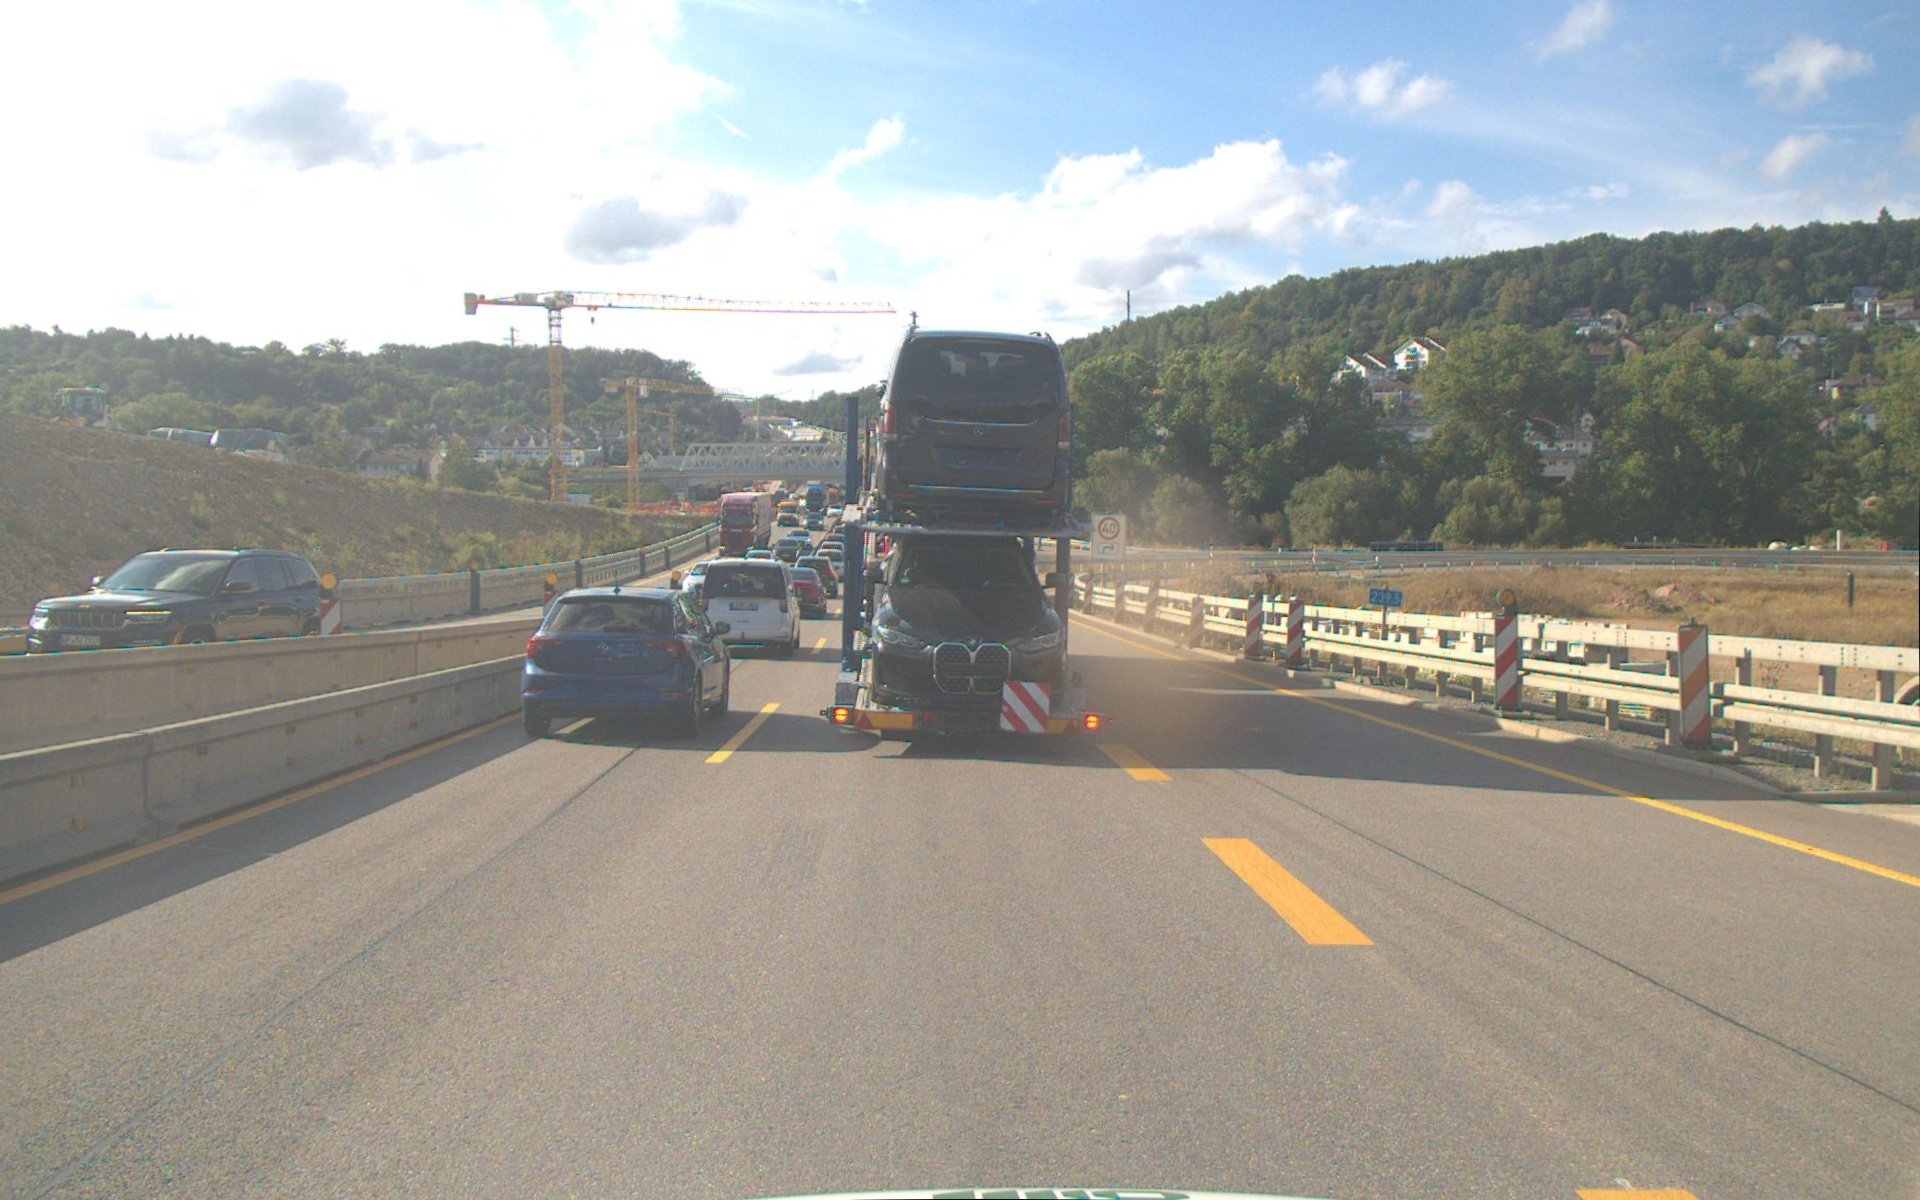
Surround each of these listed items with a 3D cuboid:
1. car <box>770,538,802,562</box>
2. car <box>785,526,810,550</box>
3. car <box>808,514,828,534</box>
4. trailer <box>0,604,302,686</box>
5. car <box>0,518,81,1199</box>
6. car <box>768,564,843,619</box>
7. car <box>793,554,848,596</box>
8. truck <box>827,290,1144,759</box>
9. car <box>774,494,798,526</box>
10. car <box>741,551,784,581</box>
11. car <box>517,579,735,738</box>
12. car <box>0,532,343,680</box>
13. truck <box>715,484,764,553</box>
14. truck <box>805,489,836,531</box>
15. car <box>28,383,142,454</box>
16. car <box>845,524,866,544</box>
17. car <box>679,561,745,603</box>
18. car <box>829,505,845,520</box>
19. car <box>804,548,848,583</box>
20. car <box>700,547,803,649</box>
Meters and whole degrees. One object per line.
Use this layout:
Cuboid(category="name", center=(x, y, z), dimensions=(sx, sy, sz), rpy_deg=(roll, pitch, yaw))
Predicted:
Cuboid(category="car", center=(-11.245, -3.226, 107.054), dimensions=(1.785, 1.465, 4.611), rpy_deg=(1, 1, -3))
Cuboid(category="car", center=(-12.344, -4.718, 125.955), dimensions=(1.808, 1.677, 4.501), rpy_deg=(1, 1, -5))
Cuboid(category="car", center=(-13.723, -7.318, 159.613), dimensions=(1.808, 1.677, 4.232), rpy_deg=(1, 1, -5))
Cuboid(category="trailer", center=(-12.850, 0.573, 22.898), dimensions=(2.301, 0.956, 10.336), rpy_deg=(1, 0, 7))
Cuboid(category="car", center=(-2.773, 0.568, 1.355), dimensions=(1.734, 1.517, 4.515), rpy_deg=(0, -1, -1))
Cuboid(category="car", center=(-4.717, -0.239, 50.974), dimensions=(1.953, 1.584, 4.400), rpy_deg=(1, -1, -1))
Cuboid(category="car", center=(-5.619, -0.982, 66.920), dimensions=(1.953, 1.579, 3.998), rpy_deg=(1, -1, -2))
Cuboid(category="truck", center=(-0.239, -0.816, 23.854), dimensions=(2.698, 4.023, 18.880), rpy_deg=(1, 1, -3))
Cuboid(category="car", center=(-17.718, -9.176, 168.865), dimensions=(1.953, 2.929, 6.062), rpy_deg=(1, 1, -2))
Cuboid(category="car", center=(-9.946, -1.713, 83.531), dimensions=(1.718, 1.465, 3.804), rpy_deg=(1, 1, 0))
Cuboid(category="car", center=(-3.375, 0.555, 17.404), dimensions=(1.688, 1.447, 3.997), rpy_deg=(1, 0, -4))
Cuboid(category="car", center=(-10.000, 0.036, 21.452), dimensions=(1.813, 1.664, 4.752), rpy_deg=(1, 1, 6))
Cuboid(category="truck", center=(-15.257, -5.587, 114.674), dimensions=(2.857, 4.463, 6.281), rpy_deg=(2, 1, -4))
Cuboid(category="truck", center=(-19.074, -12.285, 226.992), dimensions=(2.764, 4.872, 13.055), rpy_deg=(1, -1, 1))
Cuboid(category="car", center=(-35.919, -7.399, 68.070), dimensions=(1.954, 2.177, 5.318), rpy_deg=(-4, 0, -3))
Cuboid(category="car", center=(-9.534, -5.996, 150.782), dimensions=(1.808, 1.677, 4.500), rpy_deg=(1, 1, -5))
Cuboid(category="car", center=(-9.120, -0.683, 61.022), dimensions=(1.815, 1.465, 4.557), rpy_deg=(1, 1, -1))
Cuboid(category="car", center=(-15.539, -11.053, 209.137), dimensions=(1.954, 1.713, 3.997), rpy_deg=(1, -1, -3))
Cuboid(category="car", center=(-6.803, -1.780, 84.160), dimensions=(1.953, 1.695, 4.000), rpy_deg=(1, 1, -1))
Cuboid(category="car", center=(-4.011, -0.017, 32.367), dimensions=(1.787, 1.823, 3.996), rpy_deg=(1, -1, -5))
